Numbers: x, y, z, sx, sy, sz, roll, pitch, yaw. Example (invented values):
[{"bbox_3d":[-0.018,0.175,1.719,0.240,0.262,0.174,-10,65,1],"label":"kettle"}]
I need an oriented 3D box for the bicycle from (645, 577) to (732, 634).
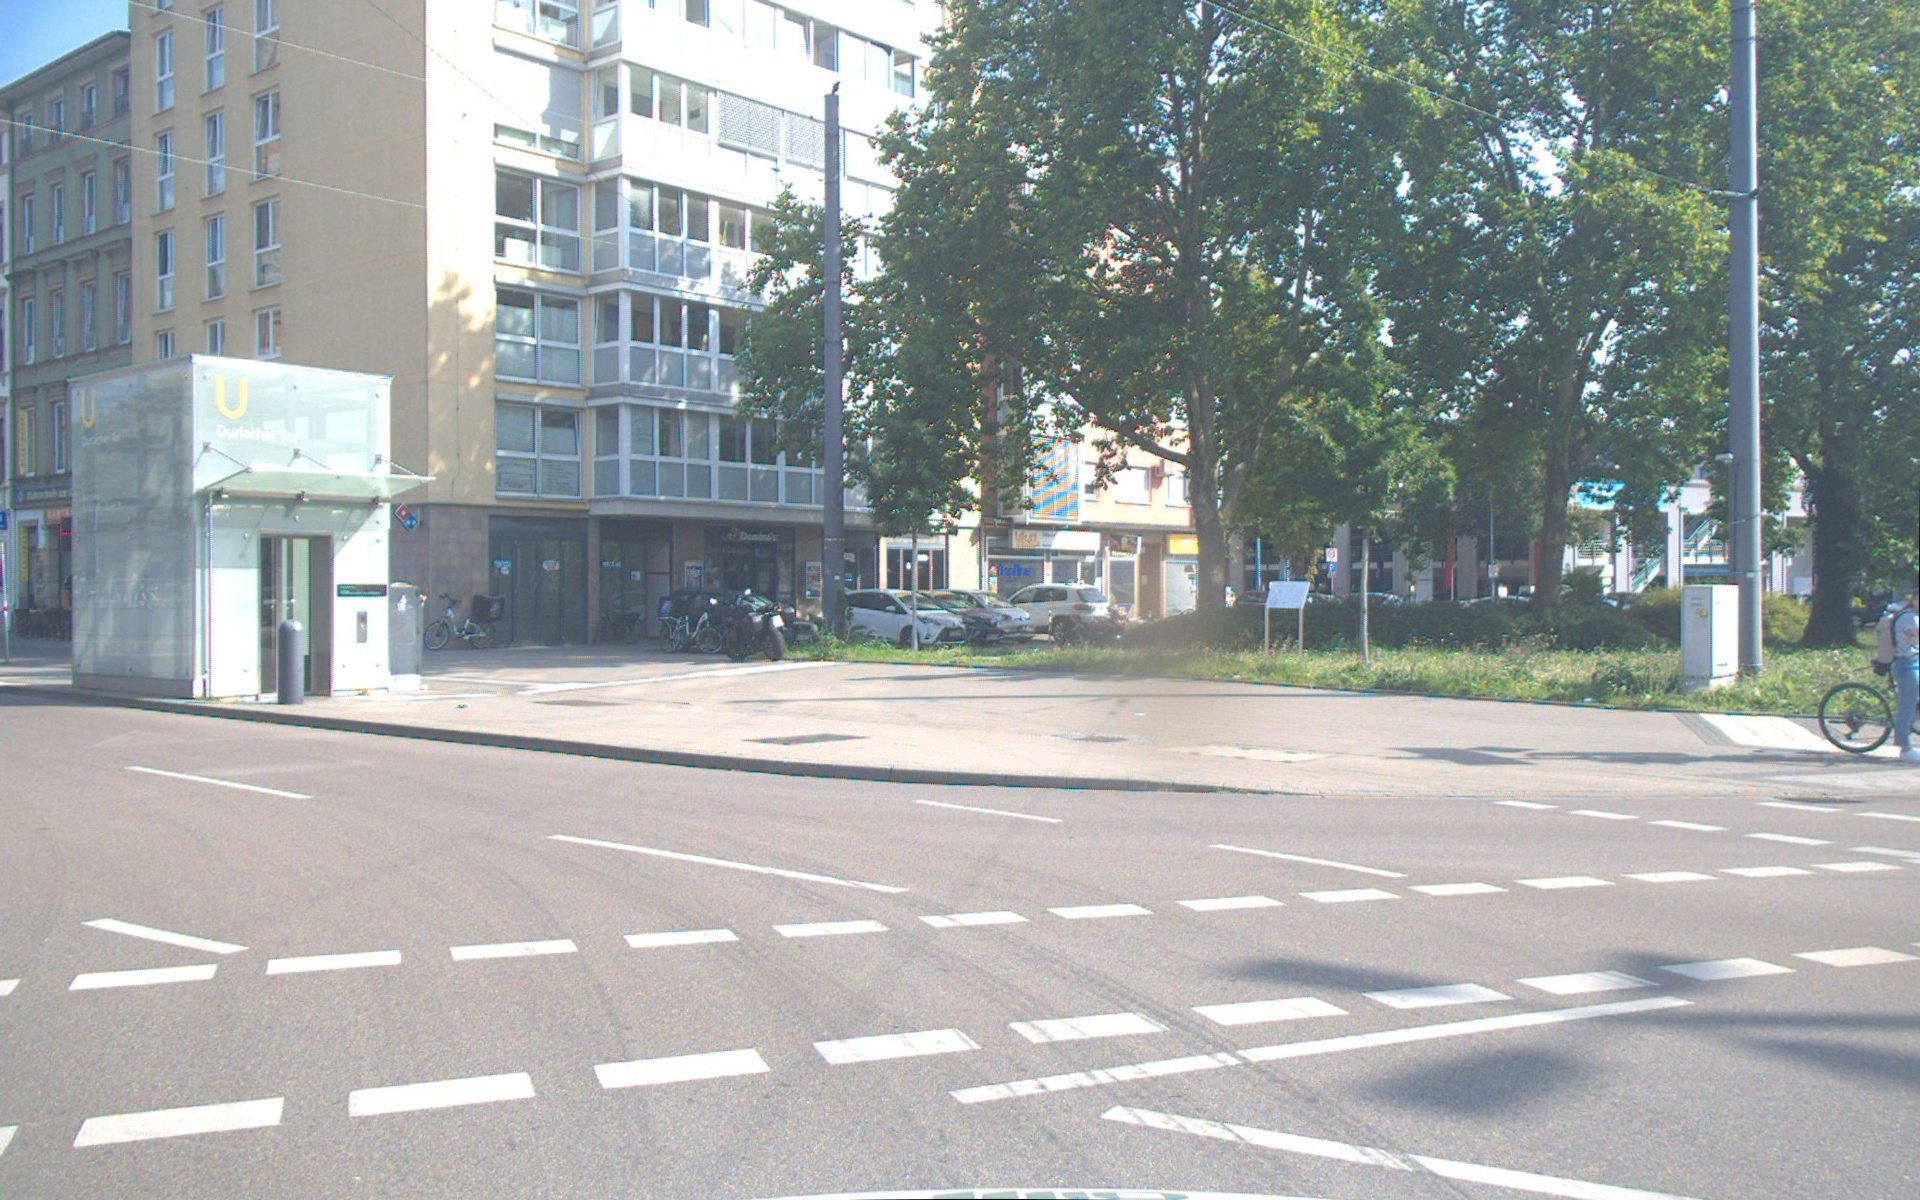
[{"bbox_3d":[-6.151,0.113,37.382,2.255,1.256,0.522,0,1,36],"label":"bicycle"}]

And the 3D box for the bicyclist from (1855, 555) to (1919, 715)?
[{"bbox_3d":[8.940,0.310,15.384,0.721,1.451,0.811,0,2,-31],"label":"bicyclist"}]

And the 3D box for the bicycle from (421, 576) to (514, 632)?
[{"bbox_3d":[-11.246,0.086,37.855,0.658,1.227,2.013,0,1,40],"label":"bicycle"}]

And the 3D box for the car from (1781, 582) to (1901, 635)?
[{"bbox_3d":[35.599,0.302,66.948,1.914,2.049,3.971,0,1,-24],"label":"car"}]

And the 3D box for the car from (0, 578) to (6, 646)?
[{"bbox_3d":[-21.494,0.264,33.383,1.804,1.448,4.410,0,0,2],"label":"car"}]

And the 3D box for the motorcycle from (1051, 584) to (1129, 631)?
[{"bbox_3d":[2.872,0.148,36.742,0.697,1.019,1.934,-1,1,-33],"label":"motorcycle"}]

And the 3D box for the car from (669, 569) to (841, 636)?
[{"bbox_3d":[-4.779,0.044,38.253,4.119,1.466,1.652,0,1,42],"label":"car"}]

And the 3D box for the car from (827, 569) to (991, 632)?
[{"bbox_3d":[-1.335,-0.020,42.250,3.928,1.533,1.989,0,1,42],"label":"car"}]

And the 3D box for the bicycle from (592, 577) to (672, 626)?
[{"bbox_3d":[-8.308,0.027,41.954,0.658,1.204,2.013,0,1,40],"label":"bicycle"}]

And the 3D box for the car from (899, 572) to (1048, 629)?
[{"bbox_3d":[0.355,-0.016,46.984,3.928,1.533,1.989,0,1,42],"label":"car"}]

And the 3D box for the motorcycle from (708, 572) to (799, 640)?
[{"bbox_3d":[-3.733,0.093,29.730,0.697,1.167,2.274,-1,1,-33],"label":"motorcycle"}]

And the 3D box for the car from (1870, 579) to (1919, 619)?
[{"bbox_3d":[36.714,-0.055,62.180,3.970,1.488,1.997,0,1,-7],"label":"car"}]

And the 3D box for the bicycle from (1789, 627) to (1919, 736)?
[{"bbox_3d":[8.891,0.774,15.454,0.560,0.909,2.055,0,3,-30],"label":"bicycle"}]

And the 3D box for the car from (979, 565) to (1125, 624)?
[{"bbox_3d":[2.669,-0.182,48.508,3.928,1.673,1.989,0,1,42],"label":"car"}]

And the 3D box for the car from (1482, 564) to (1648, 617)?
[{"bbox_3d":[16.770,-0.276,45.912,3.925,1.400,1.990,0,1,40],"label":"car"}]
